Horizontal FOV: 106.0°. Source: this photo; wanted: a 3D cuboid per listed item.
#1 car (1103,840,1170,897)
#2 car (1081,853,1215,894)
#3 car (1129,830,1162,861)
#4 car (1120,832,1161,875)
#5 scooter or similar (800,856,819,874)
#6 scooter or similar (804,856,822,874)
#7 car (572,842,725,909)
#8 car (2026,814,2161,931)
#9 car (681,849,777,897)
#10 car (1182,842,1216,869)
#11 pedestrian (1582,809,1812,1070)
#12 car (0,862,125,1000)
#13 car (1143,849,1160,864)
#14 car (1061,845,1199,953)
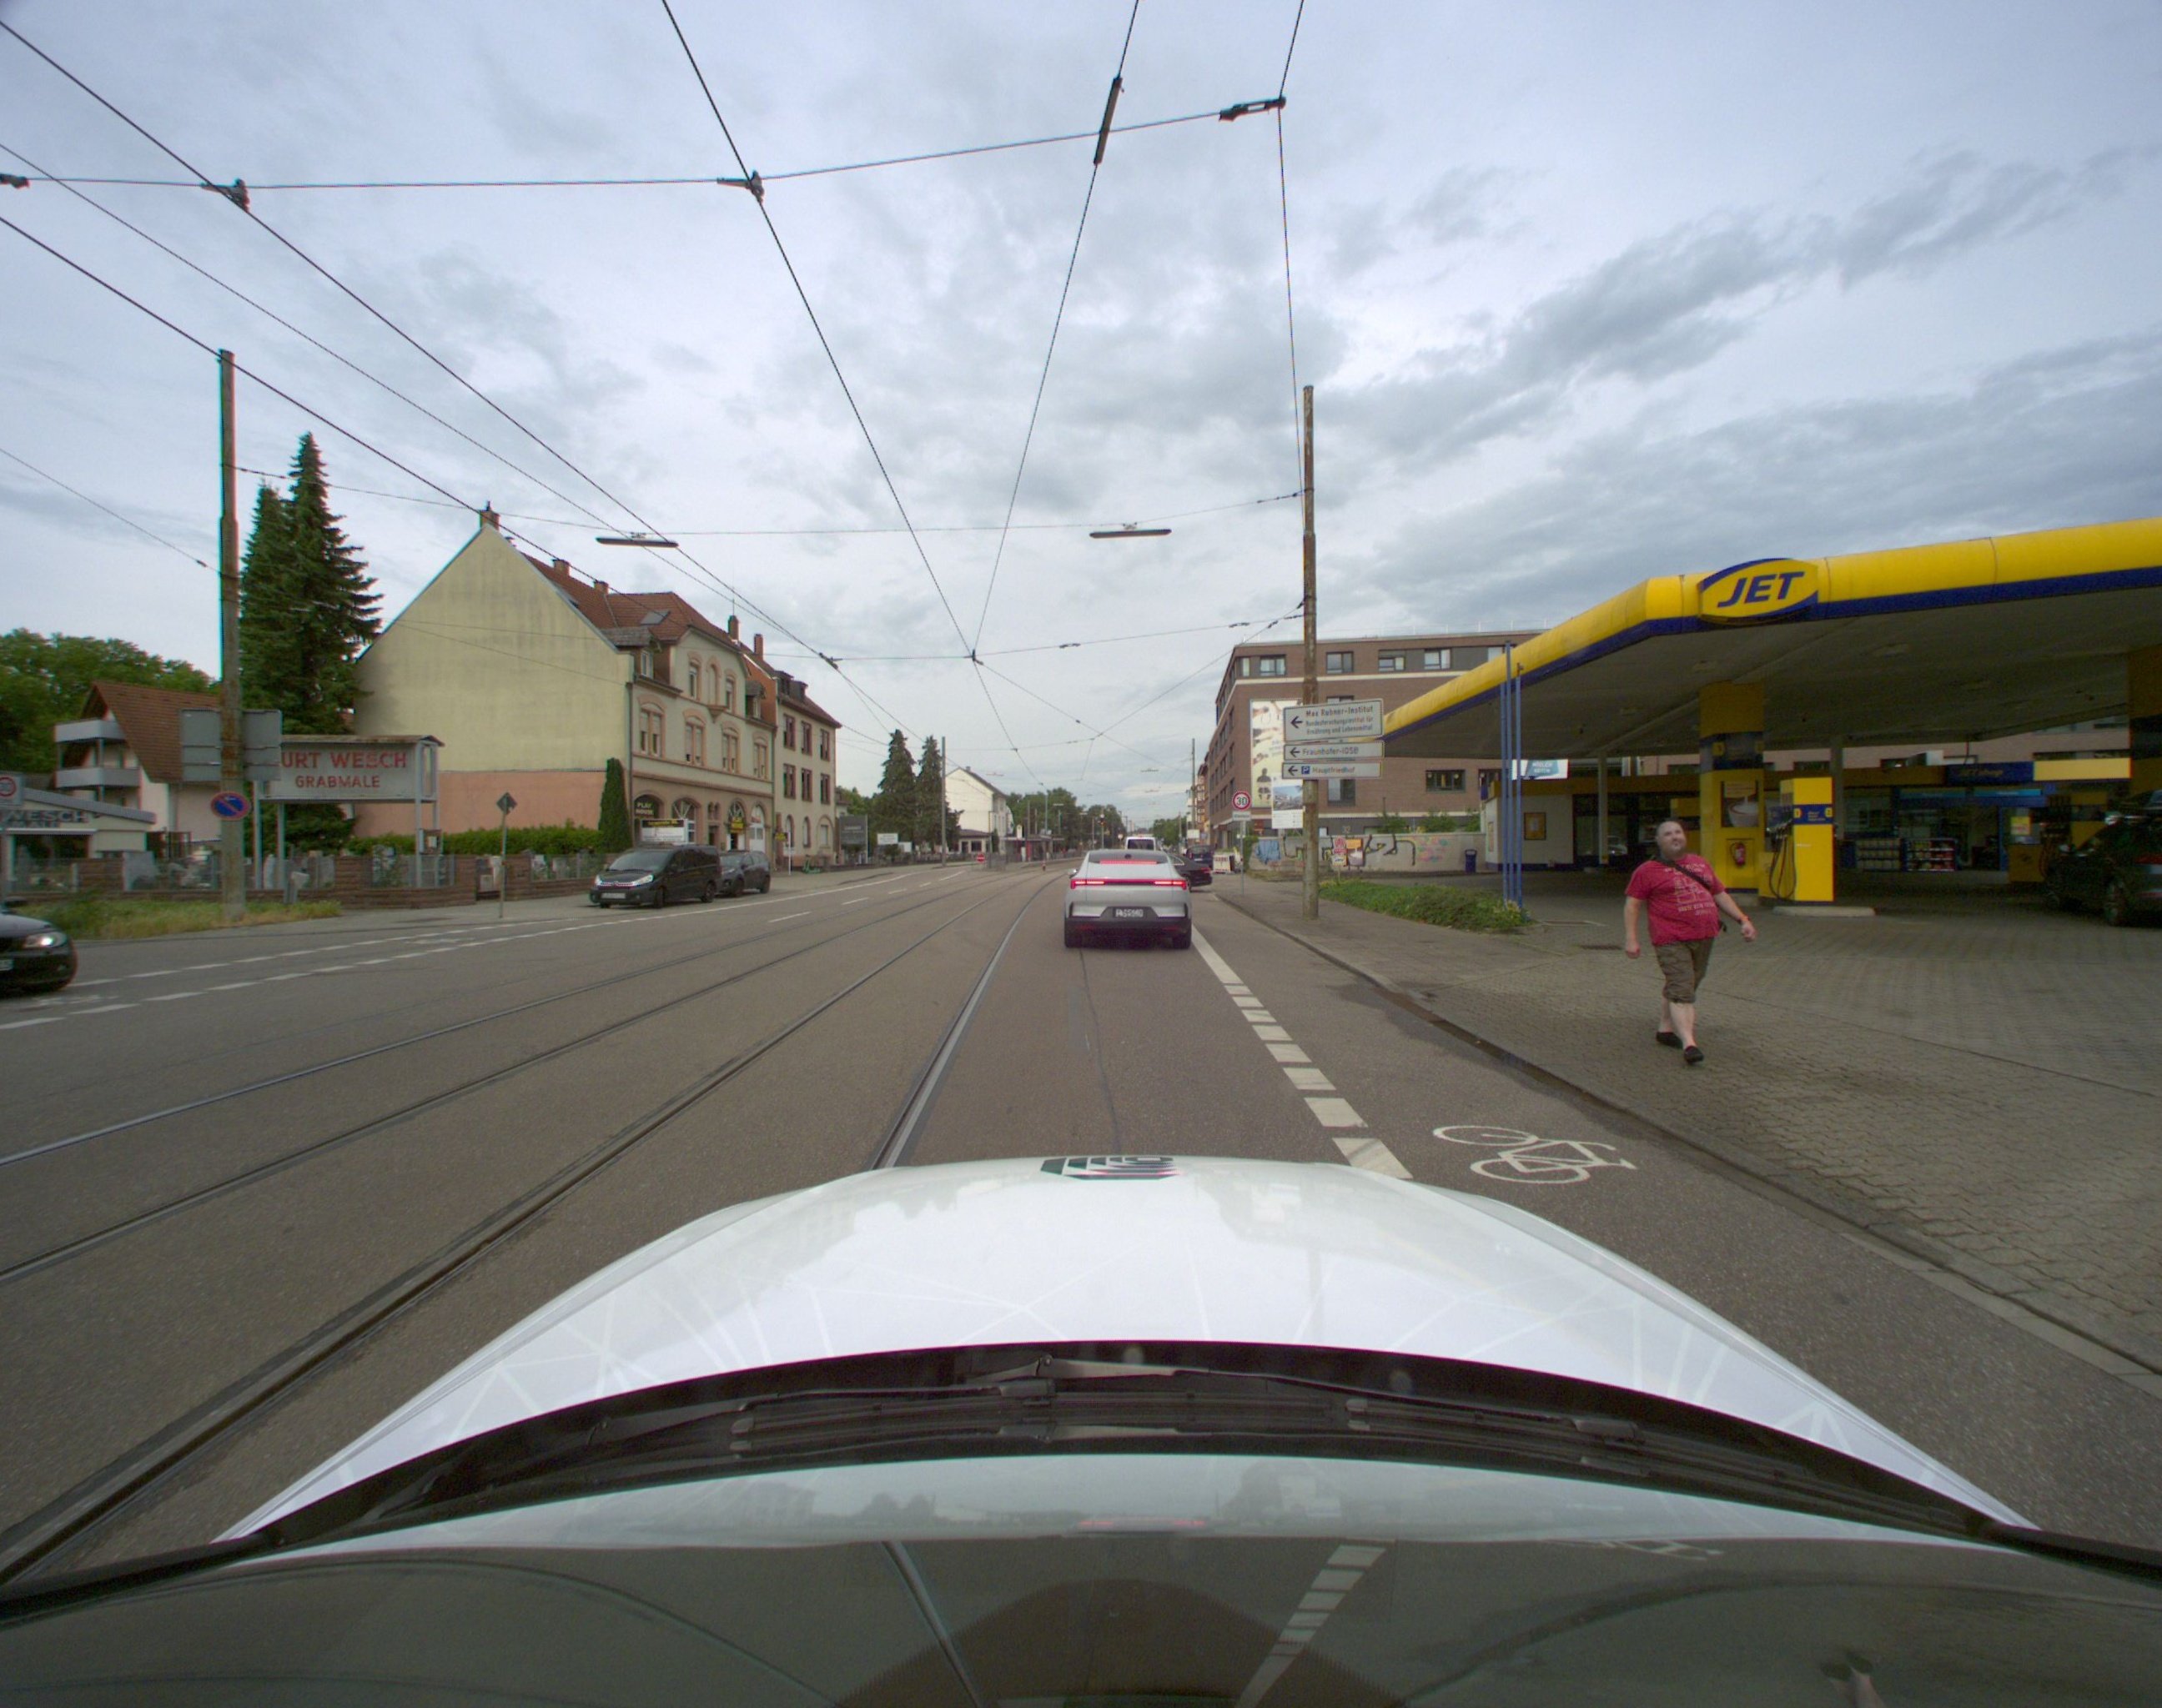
[{"bbox_3d":[1.795,0.467,27.390,1.962,1.756,3.837,1,0,0],"label":"car"},{"bbox_3d":[2.495,0.723,30.999,4.860,1.427,1.950,-1,0,-4],"label":"car"},{"bbox_3d":[4.739,-0.602,60.520,2.131,2.145,4.745,1,0,1],"label":"car"},{"bbox_3d":[3.573,-0.012,49.694,2.209,2.423,4.951,1,0,0],"label":"car"},{"bbox_3d":[-17.358,0.698,52.076,1.056,1.188,0.315,1,-1,-34],"label":"scooter or similar"},{"bbox_3d":[-16.977,0.698,51.619,1.056,1.188,0.315,1,-1,-34],"label":"scooter or similar"},{"bbox_3d":[-13.305,0.626,25.485,1.985,1.887,4.999,1,0,1],"label":"car"},{"bbox_3d":[16.112,0.179,12.091,1.971,1.497,4.354,-2,1,39],"label":"car"},{"bbox_3d":[-13.472,0.701,31.476,1.838,1.718,4.192,1,0,0],"label":"car"},{"bbox_3d":[8.312,0.130,57.797,1.868,1.823,4.097,1,0,1],"label":"car"},{"bbox_3d":[4.478,0.586,6.003,0.968,1.738,0.861,-3,-1,1],"label":"pedestrian"},{"bbox_3d":[-12.888,0.803,8.915,3.887,1.388,1.811,0,0,19],"label":"car"},{"bbox_3d":[9.814,0.306,113.632,1.988,2.014,3.997,1,0,-2],"label":"car"},{"bbox_3d":[0.670,0.648,13.899,1.976,1.550,4.180,1,0,-2],"label":"car"}]
